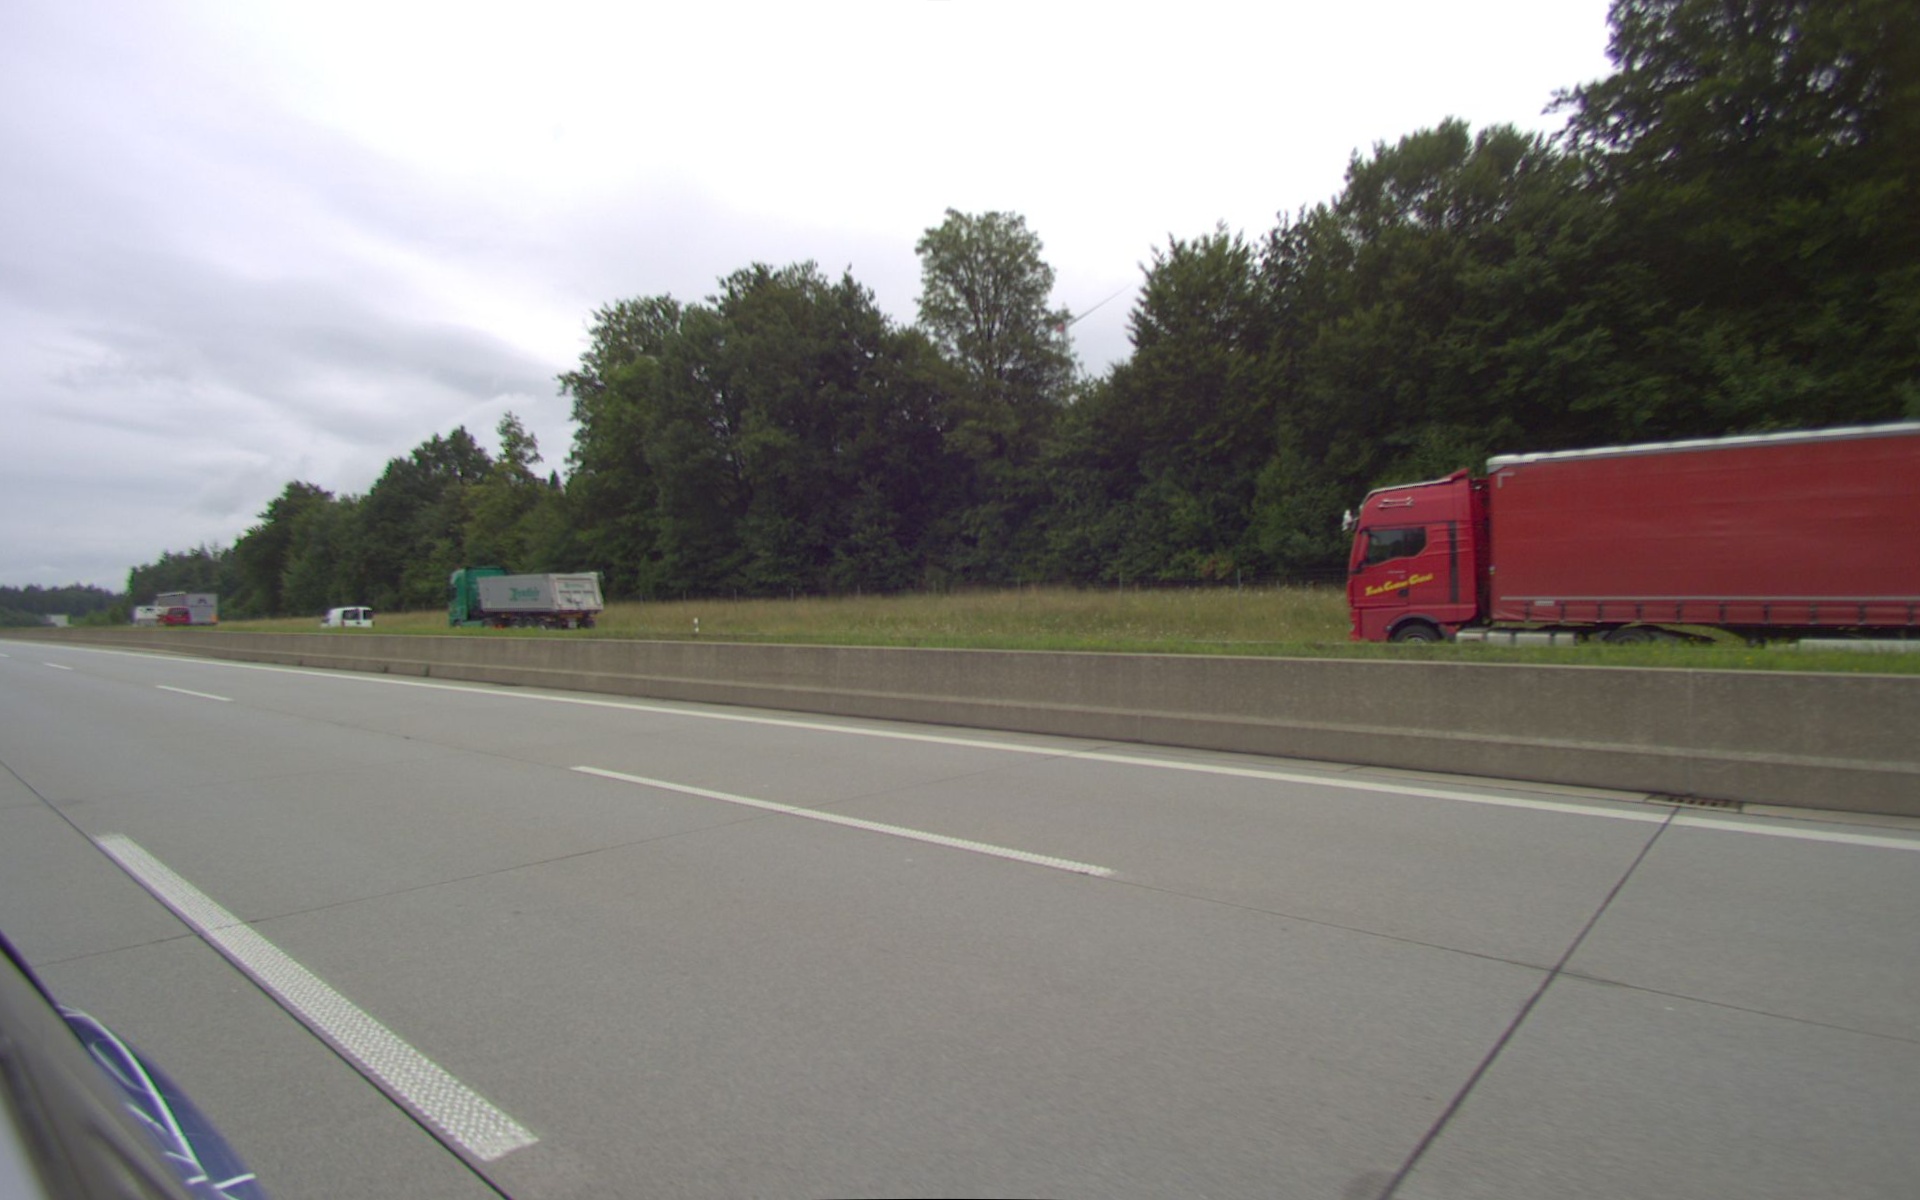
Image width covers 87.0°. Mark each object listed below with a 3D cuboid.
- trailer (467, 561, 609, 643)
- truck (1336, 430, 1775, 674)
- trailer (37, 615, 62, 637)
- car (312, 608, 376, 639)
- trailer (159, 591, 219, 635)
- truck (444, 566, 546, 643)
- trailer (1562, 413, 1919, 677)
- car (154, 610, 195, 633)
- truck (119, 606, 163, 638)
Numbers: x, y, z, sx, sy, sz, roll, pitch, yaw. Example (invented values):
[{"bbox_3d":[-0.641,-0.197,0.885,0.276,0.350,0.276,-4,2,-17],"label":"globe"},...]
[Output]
[{"bbox_3d":[-20.919,0.169,49.833,9.009,3.728,2.774,-2,-1,42],"label":"trailer"},{"bbox_3d":[11.276,-0.727,19.673,6.944,3.957,2.526,-2,-1,42],"label":"truck"},{"bbox_3d":[-178.634,5.134,198.523,13.991,4.050,2.779,-2,-1,44],"label":"trailer"},{"bbox_3d":[-33.853,1.296,55.593,4.559,1.611,1.761,-1,0,42],"label":"car"},{"bbox_3d":[-77.270,1.344,101.264,13.974,4.134,2.471,-1,-1,43],"label":"trailer"},{"bbox_3d":[-24.353,0.270,52.919,5.658,3.768,2.751,-2,-1,42],"label":"truck"},{"bbox_3d":[17.152,-0.889,14.493,14.372,3.974,2.581,-2,-1,41],"label":"trailer"},{"bbox_3d":[-66.183,1.787,85.202,5.314,1.896,1.971,-1,0,44],"label":"car"},{"bbox_3d":[-75.879,2.052,93.706,6.512,2.809,2.243,-1,-1,43],"label":"truck"}]
